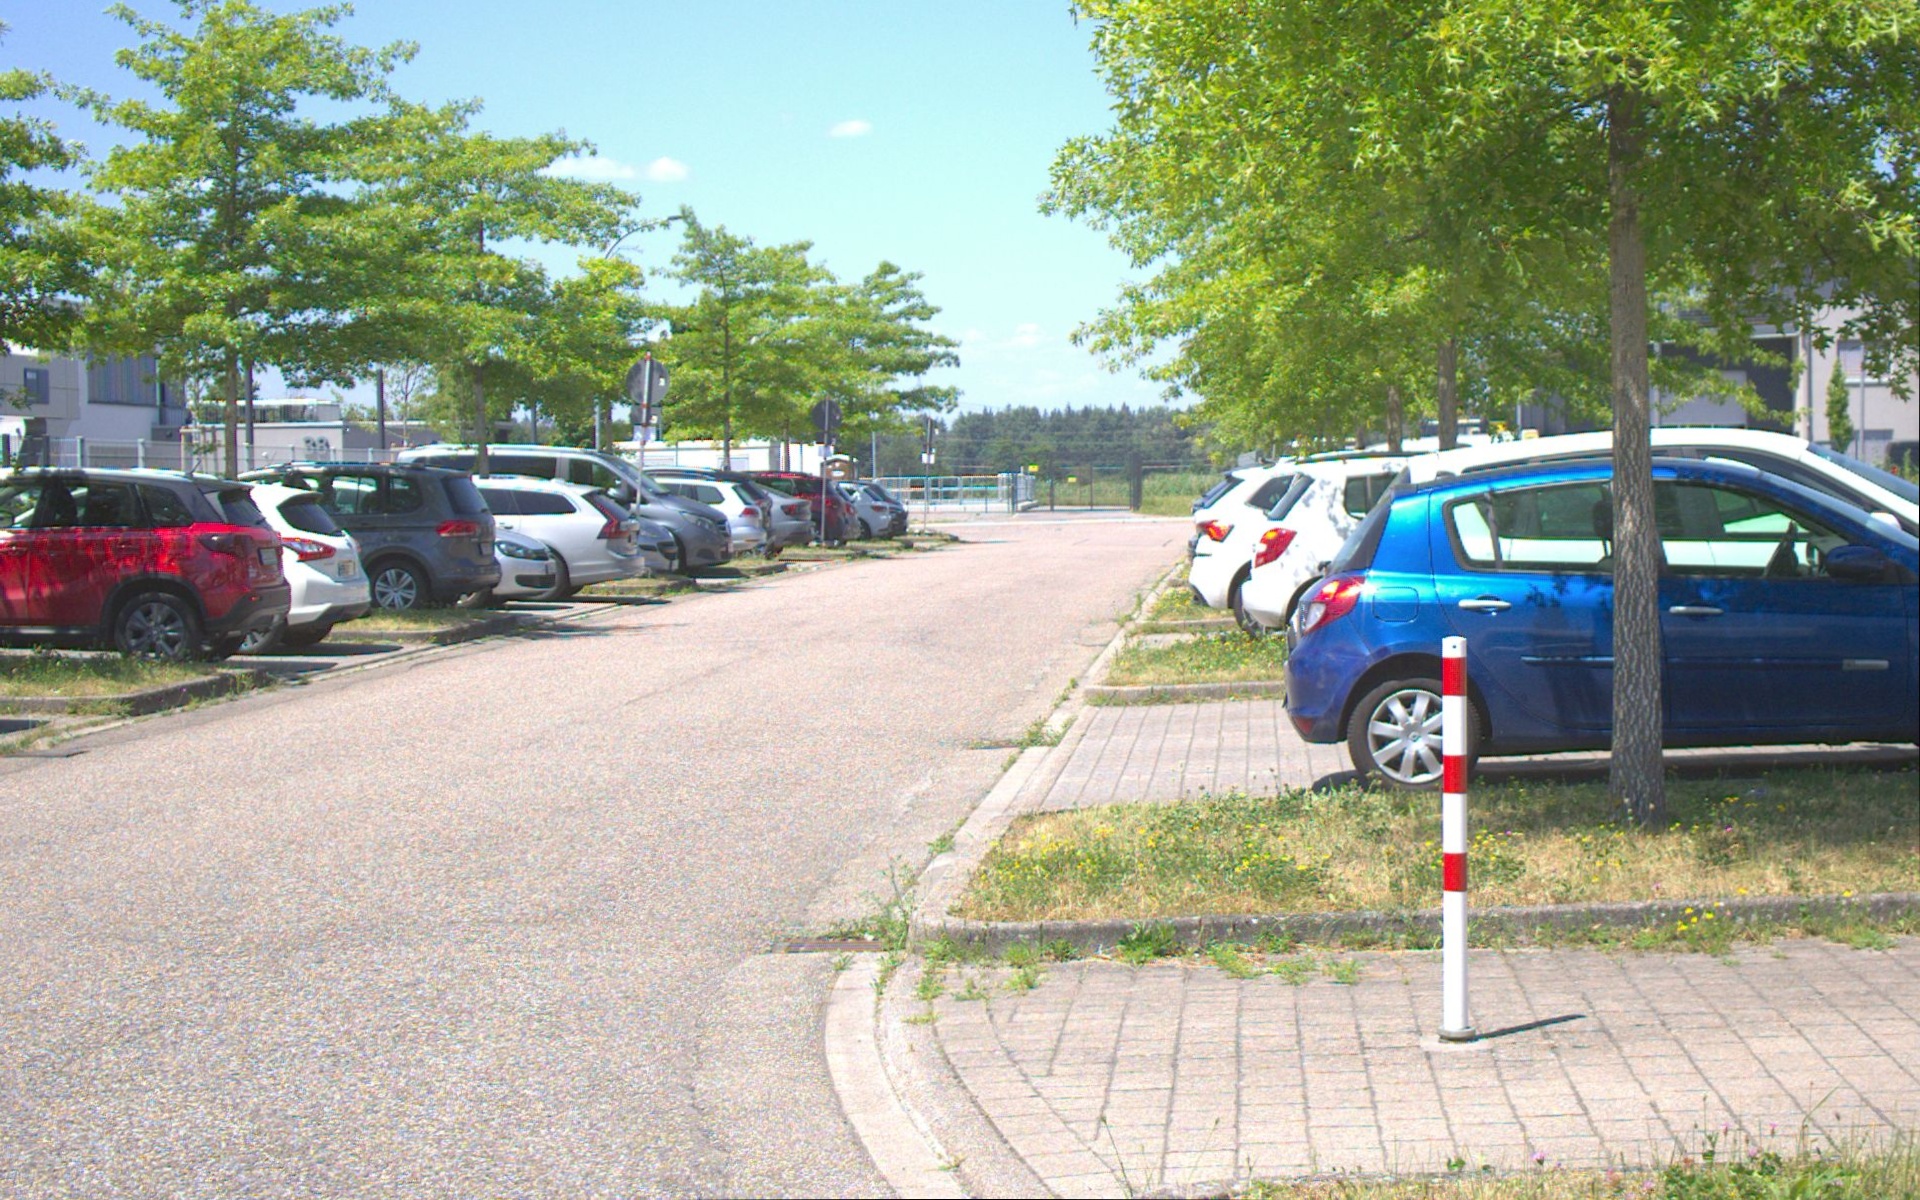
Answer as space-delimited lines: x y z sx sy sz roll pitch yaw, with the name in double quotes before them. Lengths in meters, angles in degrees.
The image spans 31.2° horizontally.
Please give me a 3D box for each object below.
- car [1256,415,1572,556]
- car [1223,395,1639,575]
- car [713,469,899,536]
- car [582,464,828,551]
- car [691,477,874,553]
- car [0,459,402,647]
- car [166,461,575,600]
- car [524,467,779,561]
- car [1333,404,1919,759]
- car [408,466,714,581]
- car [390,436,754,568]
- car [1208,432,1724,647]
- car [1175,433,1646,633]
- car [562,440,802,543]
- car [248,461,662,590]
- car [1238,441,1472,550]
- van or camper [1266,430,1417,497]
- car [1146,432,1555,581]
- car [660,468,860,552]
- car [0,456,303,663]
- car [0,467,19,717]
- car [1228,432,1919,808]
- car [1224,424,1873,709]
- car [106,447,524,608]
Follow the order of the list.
"car" 6.565 -1.660 50.004 4.404 1.823 1.795 -2 2 6
"car" 4.759 -1.172 35.058 4.047 1.619 1.693 -2 2 6
"car" -3.471 -2.218 78.087 4.075 1.419 1.874 1 2 1
"car" -4.612 -1.688 62.419 4.194 1.475 1.712 1 2 5
"car" -3.663 -1.769 71.307 3.656 1.503 1.731 1 2 1
"car" -7.260 -0.455 30.648 4.173 1.508 1.807 1 3 6
"car" -6.684 -0.813 39.236 4.311 1.468 1.727 1 2 3
"car" -5.118 -1.445 57.343 4.037 1.456 1.604 1 2 2
"car" 4.142 -0.154 18.211 4.111 1.644 1.773 -3 2 10
"car" -5.576 -1.092 48.317 3.969 1.479 1.764 2 2 5
"car" -5.750 -1.475 51.247 5.071 1.885 1.997 1 2 6
"car" 3.888 -0.484 26.864 3.835 1.519 1.779 -1 2 5
"car" 3.866 -0.587 29.334 3.836 1.548 1.779 -1 3 11
"car" -4.782 -1.887 59.560 3.987 1.672 1.777 1 2 0
"car" -6.081 -0.922 41.741 4.713 1.442 1.857 1 2 2
"car" 6.748 -1.792 59.000 3.876 1.672 1.782 -2 2 5
"van or camper" 12.735 -4.583 115.099 4.937 2.156 2.000 -1 2 4
"car" 4.670 -1.139 41.628 4.716 1.555 1.914 -2 2 1
"car" -3.971 -1.809 68.706 3.738 1.616 1.816 1 2 6
"car" -7.449 -0.365 27.942 3.839 1.586 1.727 1 2 3
"car" -8.092 -0.061 21.487 3.907 1.586 1.727 1 2 4
"car" 3.345 0.039 15.939 3.997 1.485 1.727 -3 2 9
"car" 3.513 -0.229 20.972 3.618 1.458 1.611 -3 2 1
"car" -6.923 -0.807 37.095 4.118 1.629 1.727 1 2 4
